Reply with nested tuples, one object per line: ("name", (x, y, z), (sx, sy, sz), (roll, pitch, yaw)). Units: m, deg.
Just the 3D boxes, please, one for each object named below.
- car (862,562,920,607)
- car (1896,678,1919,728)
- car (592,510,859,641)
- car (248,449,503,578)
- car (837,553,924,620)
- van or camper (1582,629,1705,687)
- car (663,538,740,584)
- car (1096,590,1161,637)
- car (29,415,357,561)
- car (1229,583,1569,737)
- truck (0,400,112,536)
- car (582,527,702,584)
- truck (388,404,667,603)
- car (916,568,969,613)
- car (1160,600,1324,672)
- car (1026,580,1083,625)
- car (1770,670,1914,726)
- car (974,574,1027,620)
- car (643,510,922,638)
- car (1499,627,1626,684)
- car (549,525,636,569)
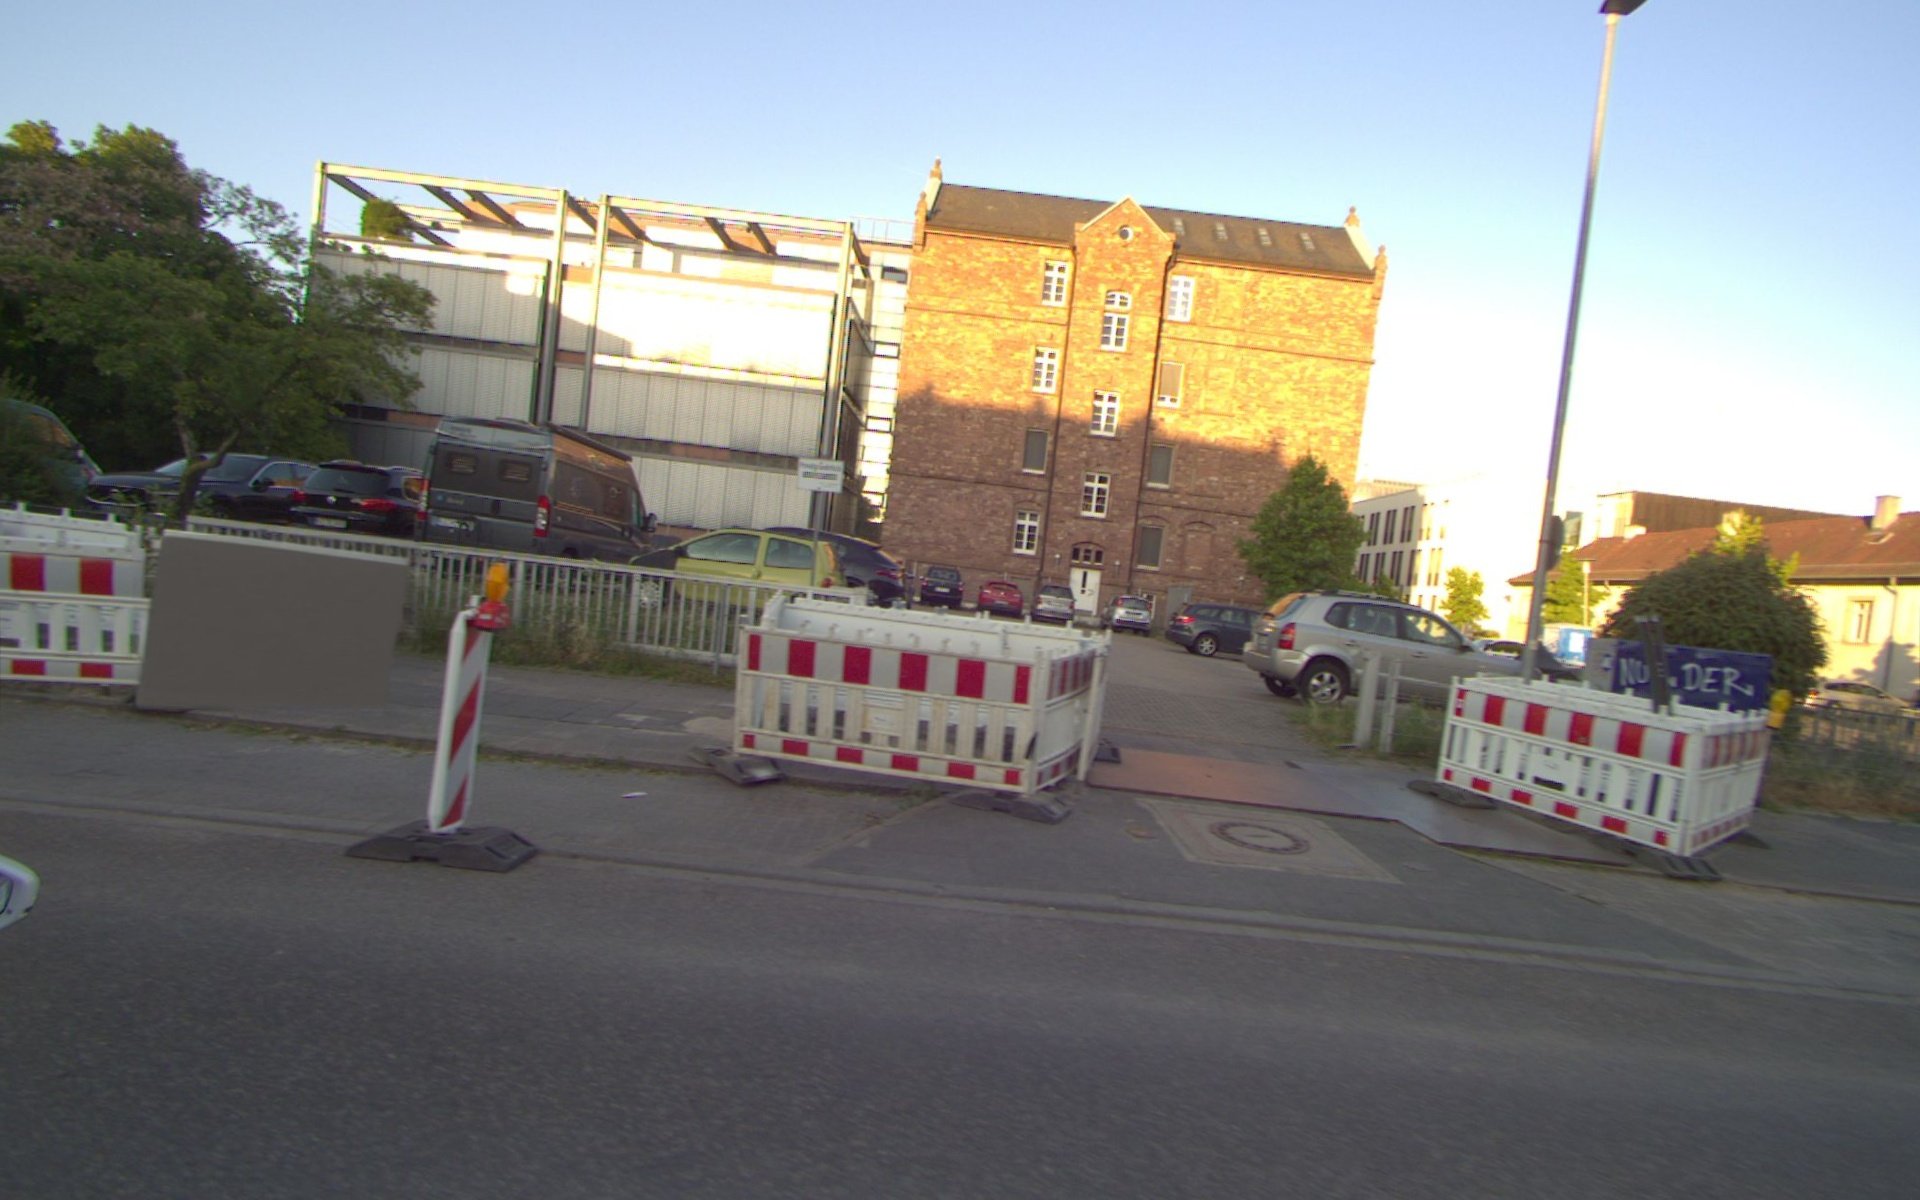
("car", (-2.774, -0.644, 41.318), (1.867, 1.557, 4.176), (7, 1, 1))
("car", (32.615, 3.538, 32.200), (3.684, 1.548, 1.685), (7, 1, -3))
("car", (-3.523, -0.368, 15.500), (3.575, 1.523, 1.636), (6, 2, 2))
("car", (-9.789, -1.353, 17.277), (1.963, 1.714, 3.996), (6, 1, -1))
("car", (-2.240, -0.410, 29.504), (1.963, 1.596, 4.362), (7, 1, 1))
("van or camper", (34.391, 2.917, 50.658), (4.888, 2.269, 1.685), (7, 1, -3))
("car", (-10.450, -1.535, 40.977), (1.867, 1.557, 4.176), (7, 1, 1))
("car", (6.789, 0.501, 40.888), (1.867, 1.557, 4.176), (7, 1, 1))
("car", (-12.127, -1.657, 16.362), (1.963, 1.749, 4.297), (6, 1, -1))
("car", (6.461, 0.841, 15.137), (4.204, 1.731, 1.701), (6, 2, 0))
("truck", (-16.899, -2.338, 16.366), (2.072, 2.117, 4.511), (6, 1, 4))
("car", (-9.162, -1.248, 29.380), (1.909, 1.322, 4.362), (7, 1, 1))
("truck", (-7.070, -1.447, 17.228), (2.297, 2.651, 4.970), (6, 1, 2))
("car", (-0.678, -0.403, 41.318), (1.867, 1.557, 4.176), (7, 1, 1))
("car", (7.834, 0.982, 28.224), (4.061, 1.502, 1.641), (6, 2, 3))
("car", (3.802, 0.065, 41.002), (1.867, 1.557, 4.176), (7, 1, 1))
("car", (32.227, 3.577, 36.816), (3.684, 1.464, 1.685), (7, 1, -3))
("car", (1.609, -0.147, 40.991), (1.867, 1.557, 4.176), (7, 1, 1))
("car", (-3.051, -0.452, 17.843), (4.512, 1.659, 1.574), (6, 2, 2))
("car", (22.710, 2.087, 38.001), (3.684, 1.624, 1.684), (6, 2, -3))
("car", (-14.977, -2.122, 41.248), (1.867, 1.451, 4.176), (7, 1, 1))
